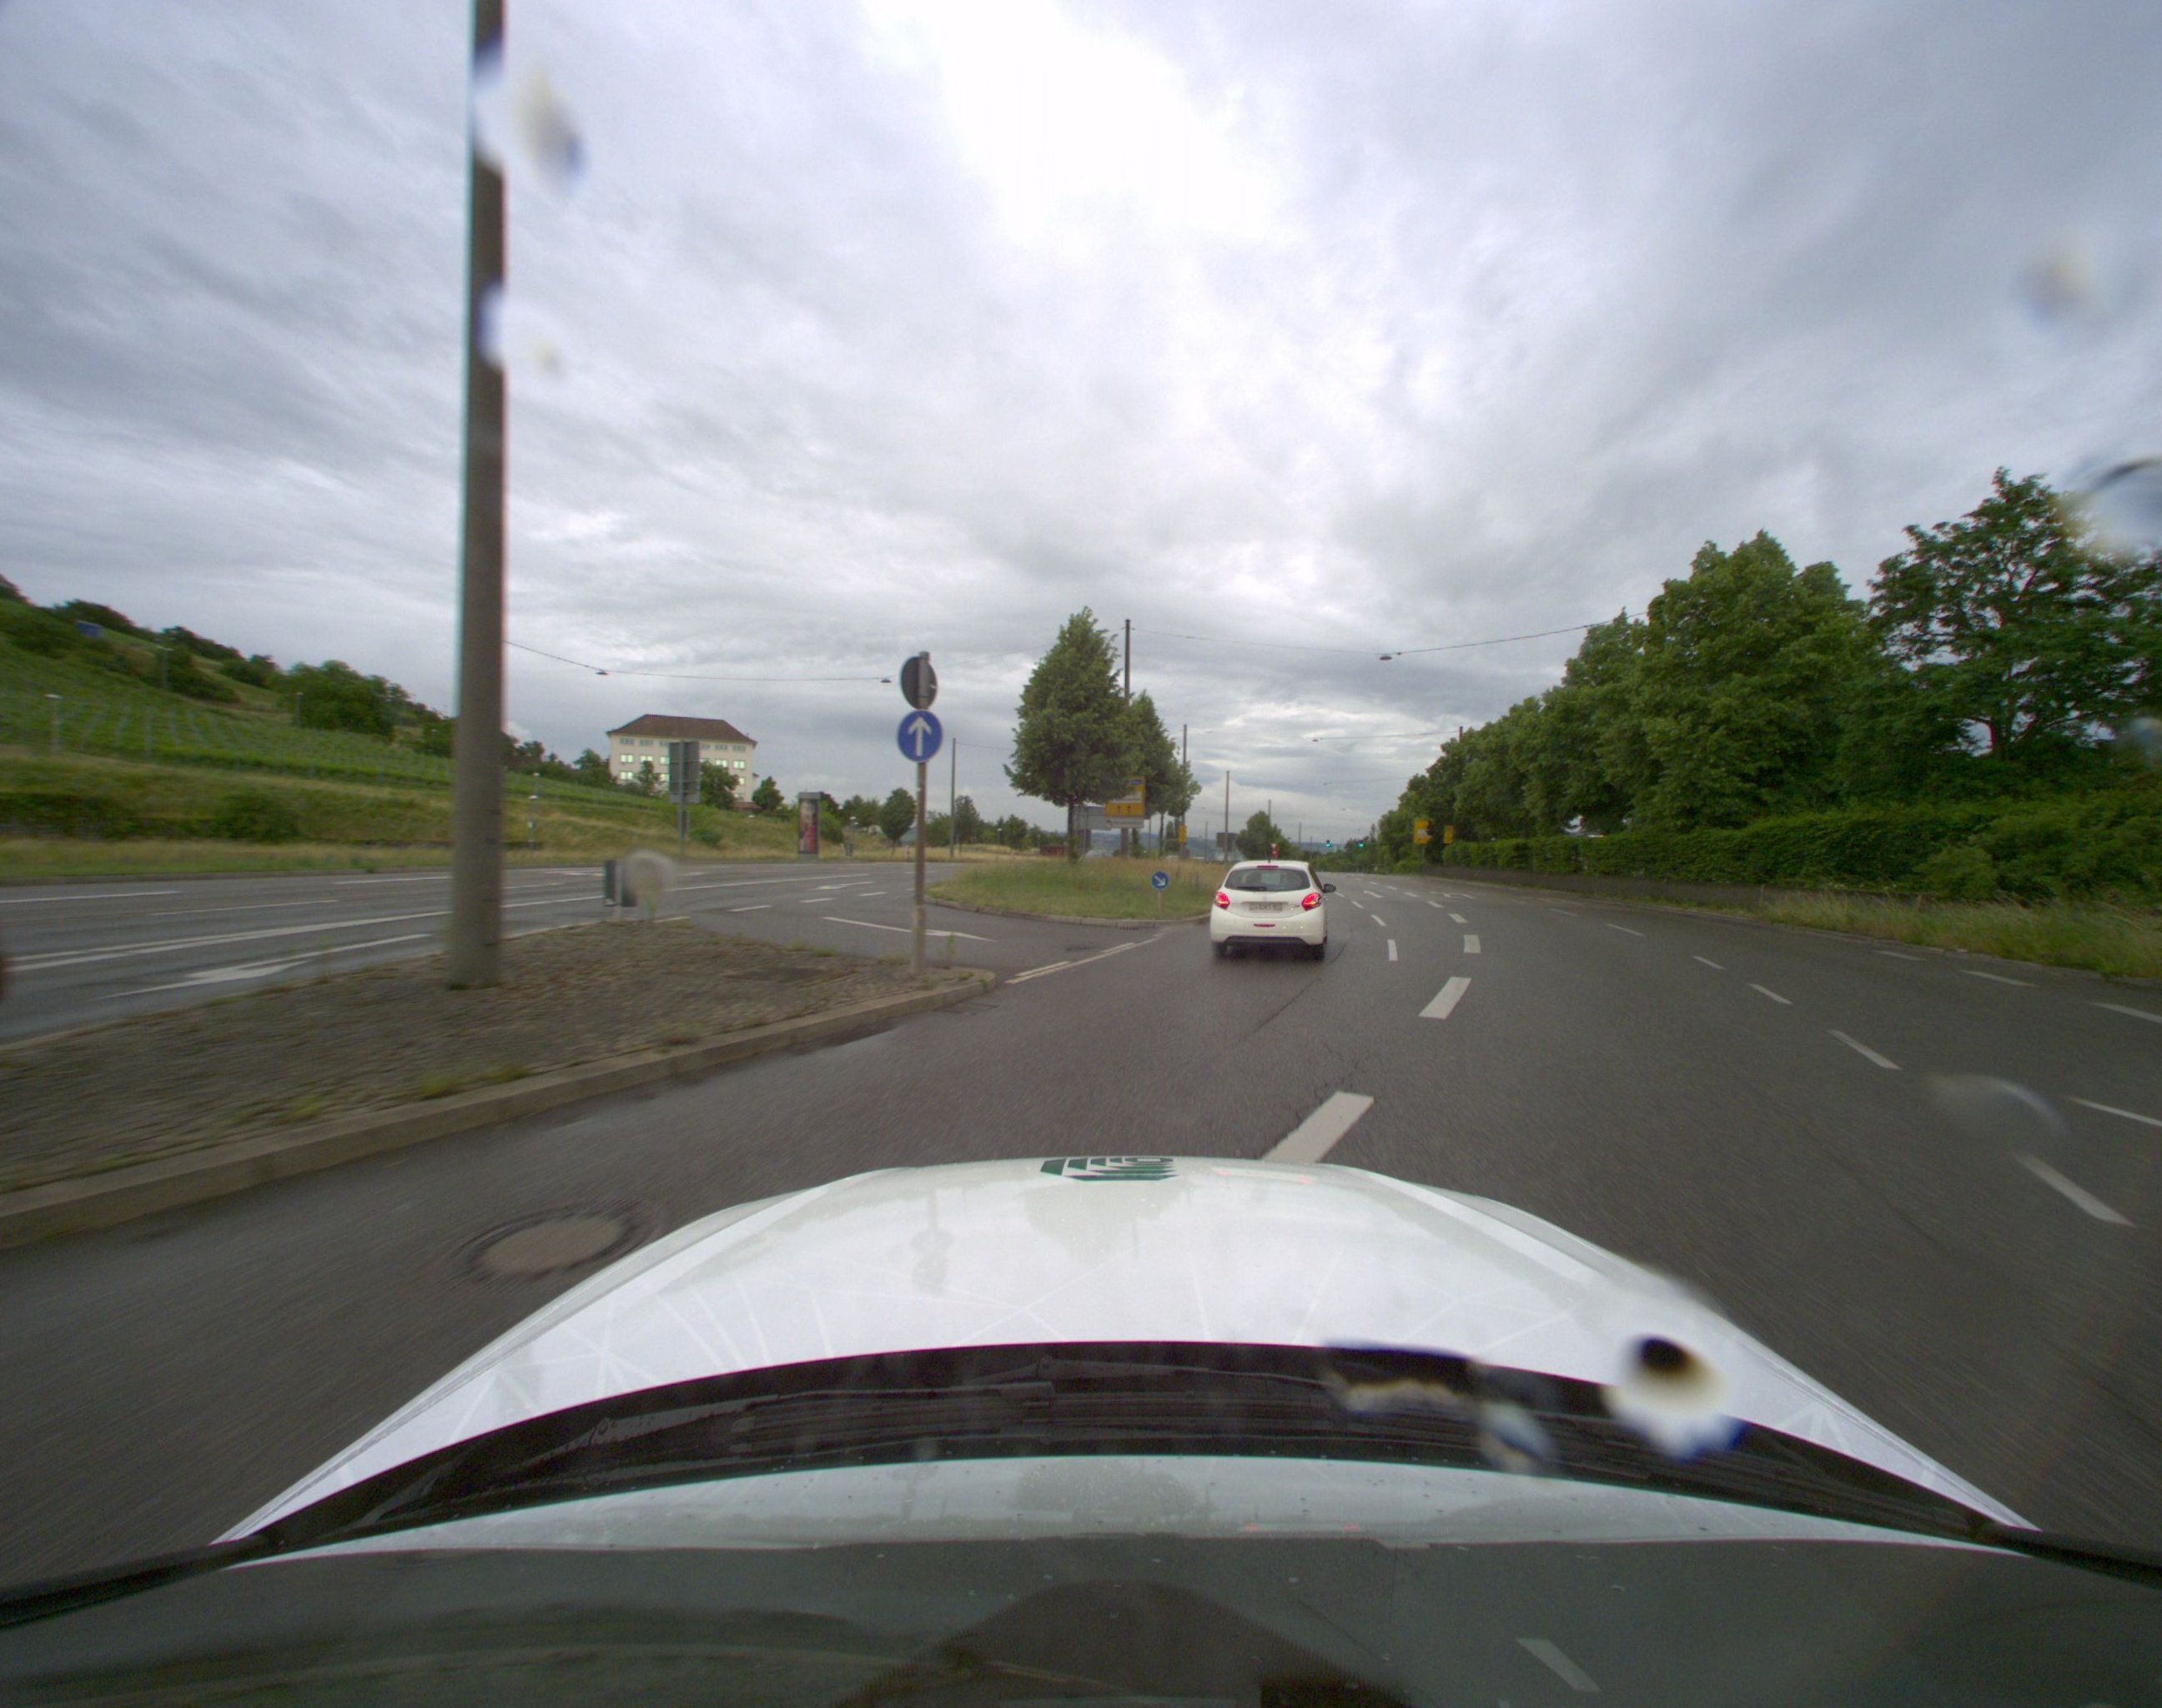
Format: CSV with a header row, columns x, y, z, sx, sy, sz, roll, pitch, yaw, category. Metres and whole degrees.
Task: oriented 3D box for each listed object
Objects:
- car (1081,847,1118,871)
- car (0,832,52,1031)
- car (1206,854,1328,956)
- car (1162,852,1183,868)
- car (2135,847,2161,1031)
x,y,z,sx,sy,sz,roll,pitch,yaw,category
1.430,0.354,60.978,1.865,1.653,4.373,1,0,13,car
-8.542,0.586,4.040,1.733,1.461,4.329,1,1,-9,car
3.187,0.733,13.444,1.695,1.440,3.706,-1,0,17,car
10.544,0.652,93.540,1.755,1.750,4.016,1,0,14,car
10.062,0.806,5.050,1.714,1.649,4.641,3,1,13,car
